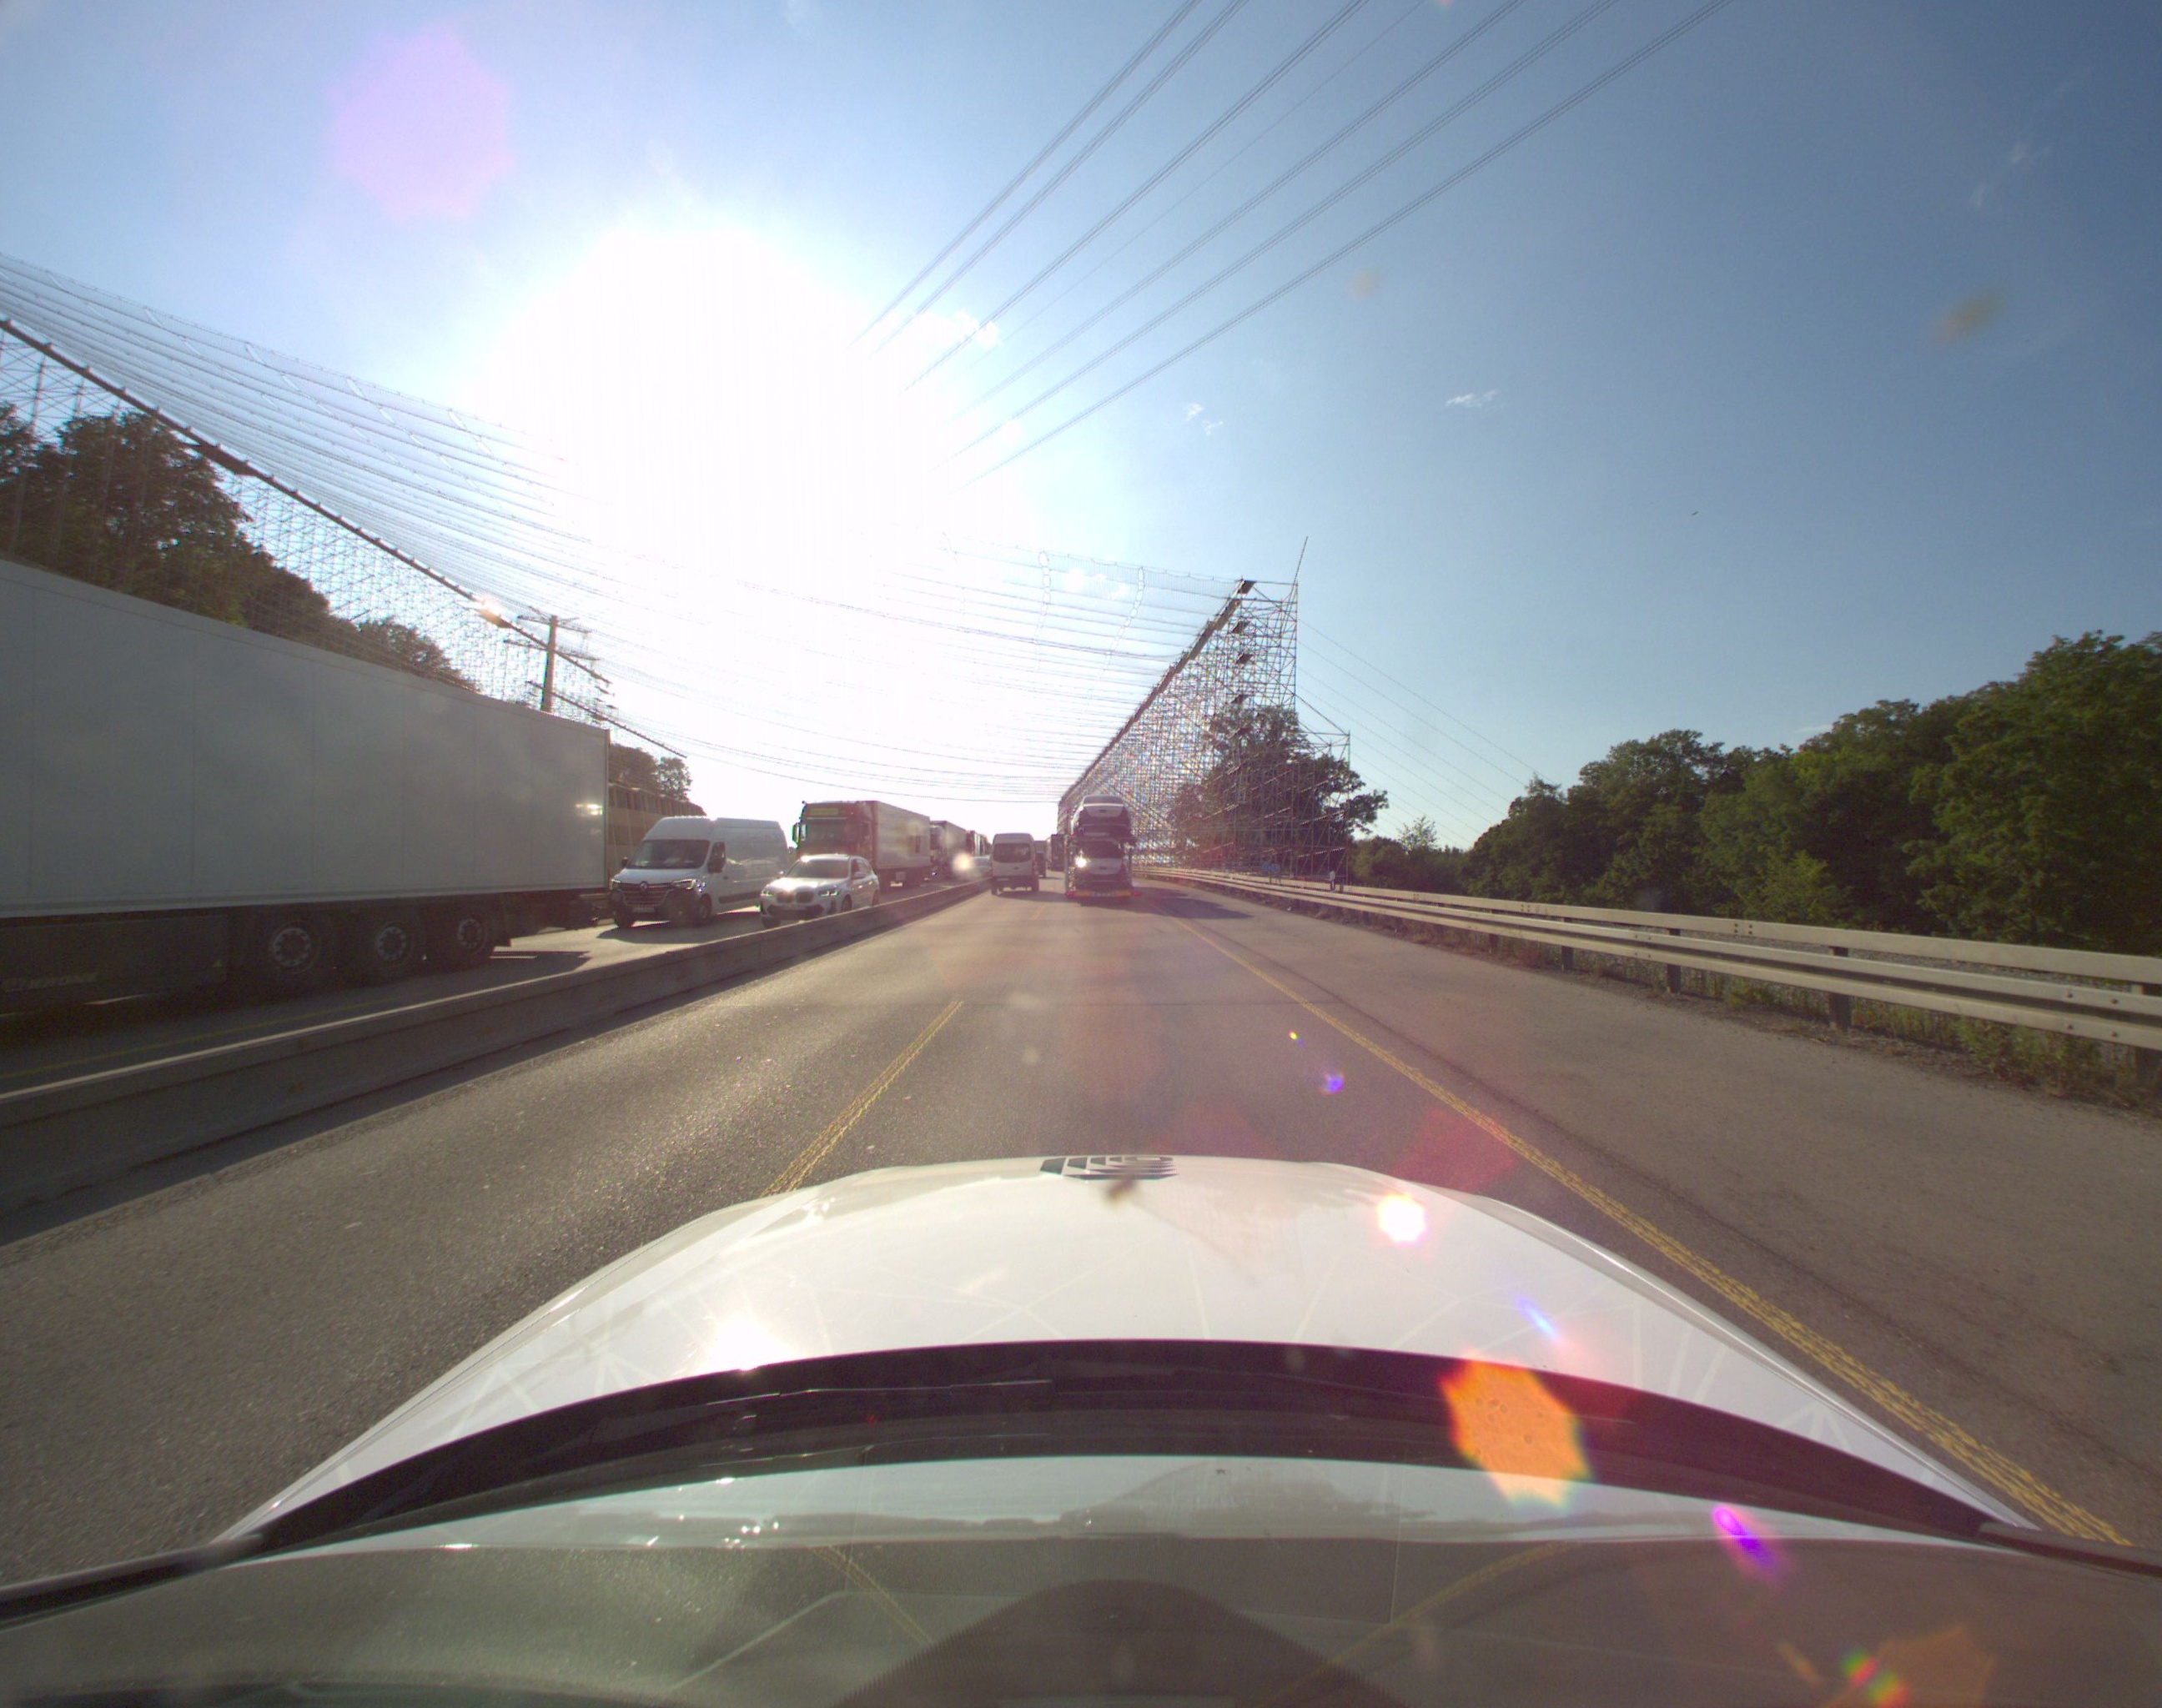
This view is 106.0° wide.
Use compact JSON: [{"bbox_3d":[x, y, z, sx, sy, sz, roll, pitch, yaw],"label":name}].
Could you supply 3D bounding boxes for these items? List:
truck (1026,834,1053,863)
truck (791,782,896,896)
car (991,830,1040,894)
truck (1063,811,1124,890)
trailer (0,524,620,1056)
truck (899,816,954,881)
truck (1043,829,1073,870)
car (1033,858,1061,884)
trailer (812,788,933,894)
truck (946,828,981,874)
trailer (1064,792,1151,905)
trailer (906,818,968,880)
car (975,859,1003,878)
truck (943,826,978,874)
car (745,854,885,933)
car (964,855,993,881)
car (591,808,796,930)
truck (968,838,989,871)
[{"bbox_3d":[-6.680,-0.852,132.824,3.676,4.220,13.663,-3,0,-1],"label":"truck"},{"bbox_3d":[-9.664,-0.544,33.801,2.737,4.300,5.929,0,-1,-2],"label":"truck"},{"bbox_3d":[-2.823,0.376,35.808,1.952,2.621,3.996,-1,-1,-3],"label":"car"},{"bbox_3d":[0.574,-0.138,42.283,2.873,3.702,7.322,-1,-1,-1],"label":"truck"},{"bbox_3d":[-9.910,-0.485,8.167,2.712,4.218,13.746,-1,0,0],"label":"trailer"},{"bbox_3d":[-10.319,-0.327,54.845,2.781,4.141,5.927,0,-1,-3],"label":"truck"},{"bbox_3d":[-2.721,-0.468,92.908,2.728,4.385,11.500,1,0,-5],"label":"truck"},{"bbox_3d":[-2.700,1.309,63.724,1.990,2.014,3.993,0,-1,-5],"label":"car"},{"bbox_3d":[-9.844,-0.496,40.483,2.758,4.334,13.871,0,0,-2],"label":"trailer"},{"bbox_3d":[-11.503,-0.257,80.556,2.783,4.141,13.779,0,0,-6],"label":"truck"},{"bbox_3d":[0.717,-0.128,34.630,2.861,3.725,14.938,-1,0,-1],"label":"trailer"},{"bbox_3d":[-10.607,-0.260,61.575,2.792,4.141,13.952,0,0,-3],"label":"trailer"},{"bbox_3d":[-7.262,1.119,64.571,1.727,1.377,4.887,1,0,-2],"label":"car"},{"bbox_3d":[-10.868,-0.305,74.119,2.783,4.141,6.665,0,-1,-6],"label":"truck"},{"bbox_3d":[-6.306,0.844,19.944,1.864,1.588,4.801,1,1,-1],"label":"car"},{"bbox_3d":[-6.870,0.899,54.950,1.750,1.657,4.853,-1,0,-6],"label":"car"},{"bbox_3d":[-9.782,0.294,21.466,2.015,2.690,6.949,0,1,0],"label":"car"},{"bbox_3d":[-13.556,0.053,107.485,2.661,4.230,6.087,0,0,-8],"label":"truck"}]
